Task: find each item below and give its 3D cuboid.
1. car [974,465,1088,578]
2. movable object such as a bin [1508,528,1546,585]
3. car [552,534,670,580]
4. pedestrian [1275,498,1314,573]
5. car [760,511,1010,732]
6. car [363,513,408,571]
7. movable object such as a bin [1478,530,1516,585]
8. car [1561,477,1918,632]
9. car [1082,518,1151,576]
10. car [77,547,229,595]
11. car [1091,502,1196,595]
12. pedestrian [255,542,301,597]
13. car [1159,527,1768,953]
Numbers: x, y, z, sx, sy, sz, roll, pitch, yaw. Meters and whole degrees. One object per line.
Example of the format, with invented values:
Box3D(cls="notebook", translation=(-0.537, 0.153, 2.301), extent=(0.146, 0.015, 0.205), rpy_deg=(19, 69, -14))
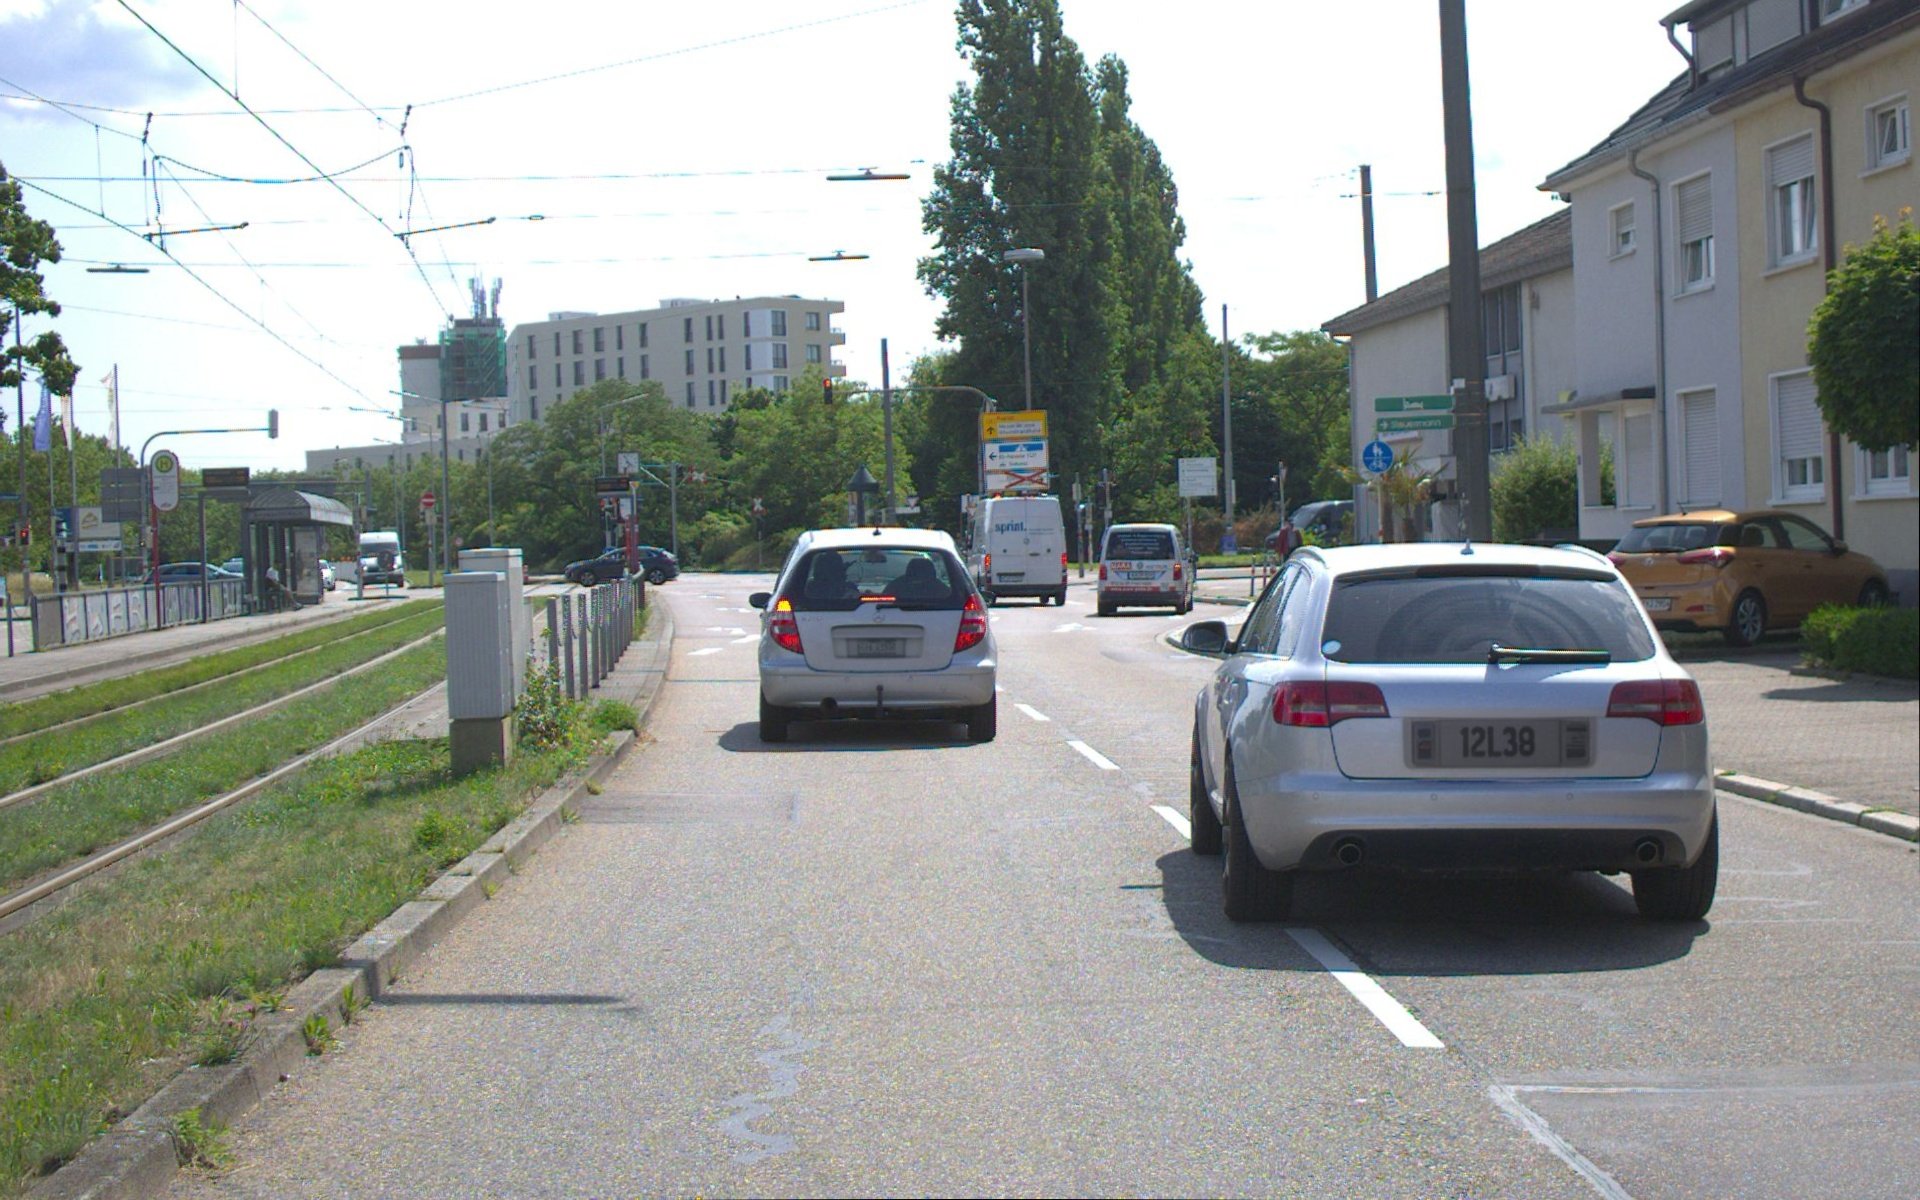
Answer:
Box3D(cls="car", translation=(1.632, -1.854, 81.381), extent=(2.040, 2.549, 5.232), rpy_deg=(-2, 1, -6))
Box3D(cls="movable object such as a bin", translation=(9.356, -0.721, 56.773), extent=(0.441, 0.931, 0.550), rpy_deg=(-2, 1, -10))
Box3D(cls="car", translation=(-13.317, -1.645, 131.281), extent=(4.352, 1.732, 2.000), rpy_deg=(0, 1, -2))
Box3D(cls="pedestrian", translation=(8.121, -1.564, 83.464), extent=(0.721, 1.776, 0.703), rpy_deg=(-4, 1, -3))
Box3D(cls="car", translation=(-0.613, 0.103, 26.738), extent=(1.787, 1.571, 4.095), rpy_deg=(0, 1, -2))
Box3D(cls="car", translation=(-26.226, -2.630, 156.903), extent=(1.993, 2.597, 4.880), rpy_deg=(0, 1, -9))
Box3D(cls="movable object such as a bin", translation=(8.855, -0.698, 56.733), extent=(0.444, 0.892, 0.546), rpy_deg=(-2, 1, -10))
Box3D(cls="car", translation=(8.620, -0.534, 37.823), extent=(1.915, 1.453, 4.083), rpy_deg=(1, 4, 45))
Box3D(cls="car", translation=(4.613, -1.553, 100.756), extent=(1.885, 1.631, 4.094), rpy_deg=(0, 1, 4))
Box3D(cls="car", translation=(-28.159, -1.017, 120.032), extent=(4.862, 1.654, 2.000), rpy_deg=(0, 1, -2))
Box3D(cls="car", translation=(3.669, -1.032, 68.050), extent=(1.885, 1.725, 4.094), rpy_deg=(-2, 1, 5))
Box3D(cls="pedestrian", translation=(-17.305, -0.773, 87.266), extent=(1.058, 1.371, 0.860), rpy_deg=(0, 1, -5))
Box3D(cls="car", translation=(1.932, 0.453, 14.553), extent=(1.854, 1.487, 4.536), rpy_deg=(-1, 1, -1))
